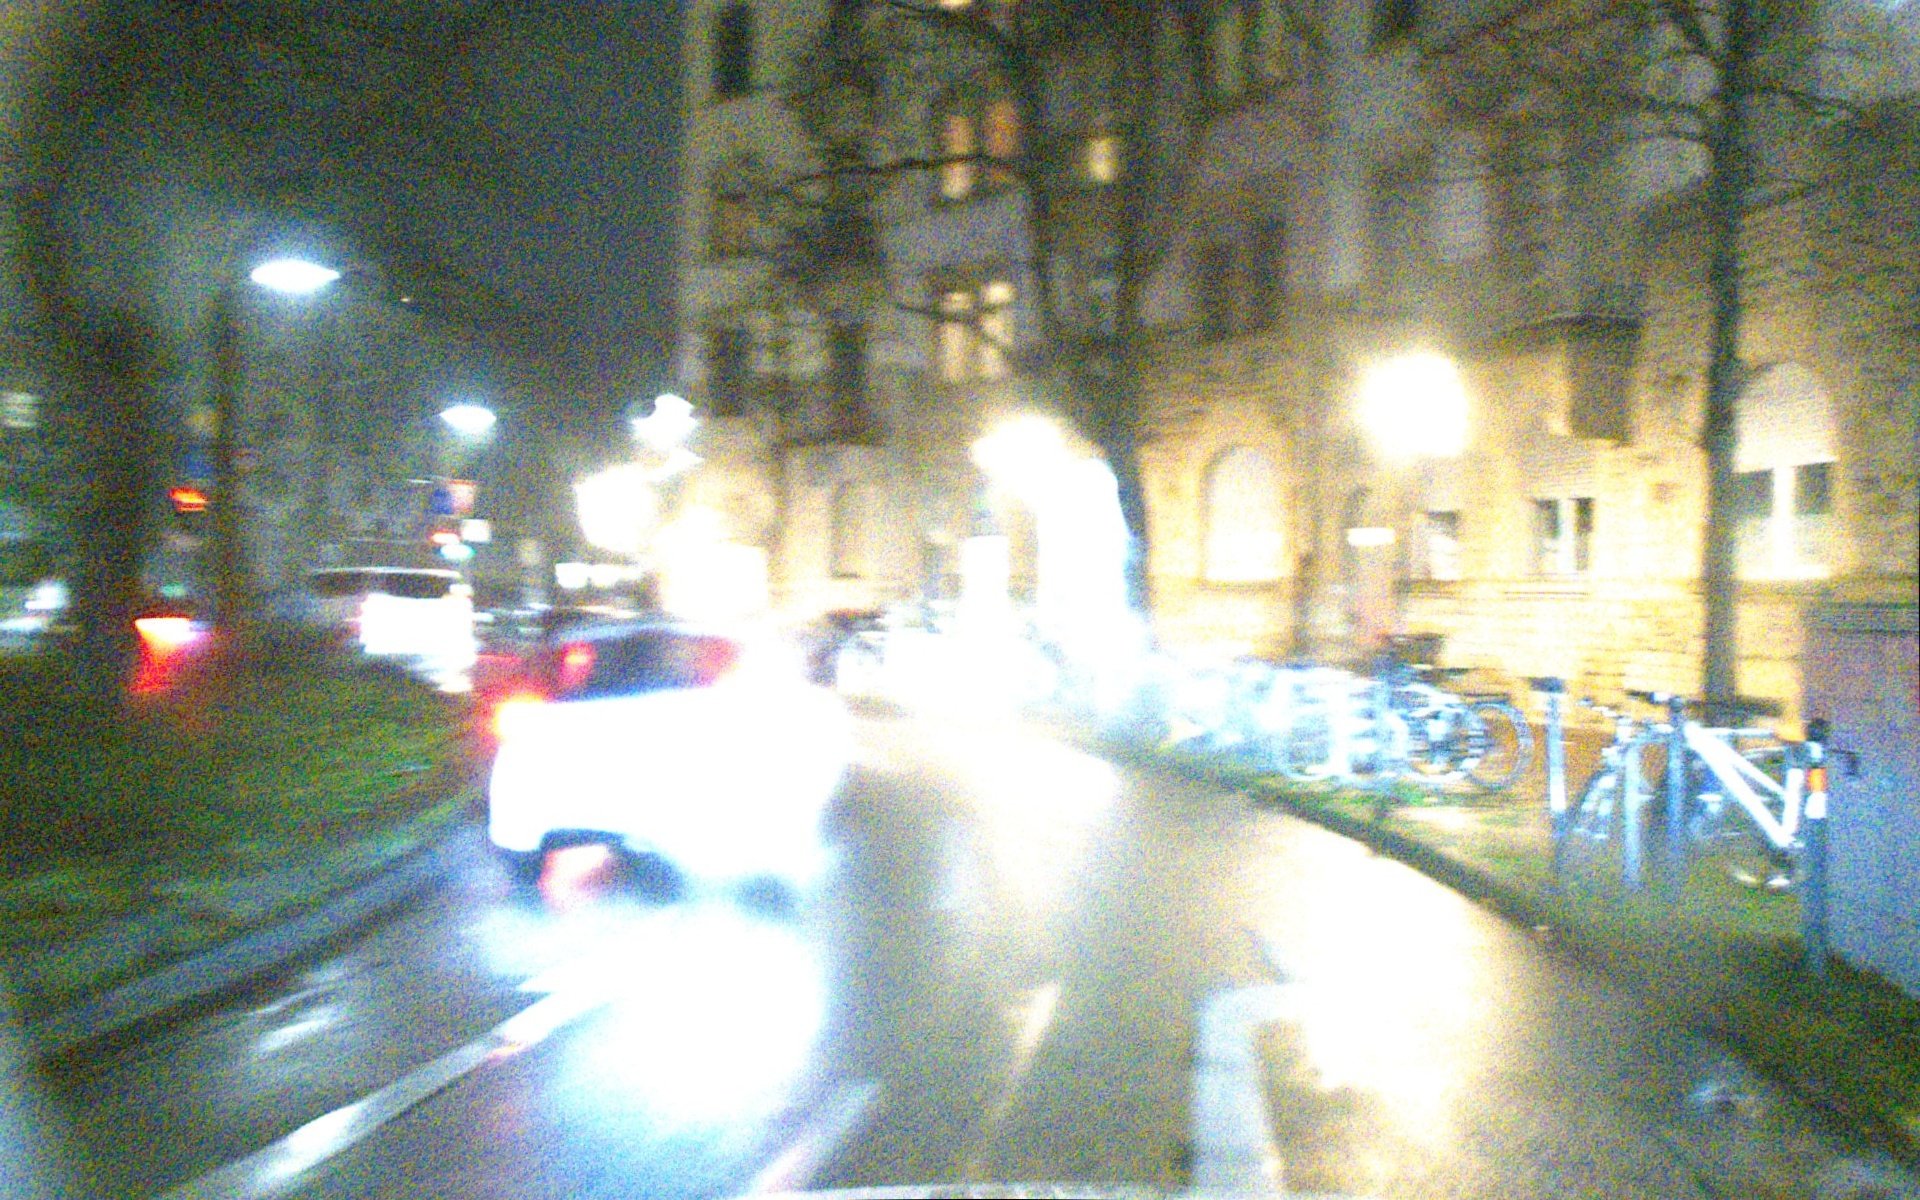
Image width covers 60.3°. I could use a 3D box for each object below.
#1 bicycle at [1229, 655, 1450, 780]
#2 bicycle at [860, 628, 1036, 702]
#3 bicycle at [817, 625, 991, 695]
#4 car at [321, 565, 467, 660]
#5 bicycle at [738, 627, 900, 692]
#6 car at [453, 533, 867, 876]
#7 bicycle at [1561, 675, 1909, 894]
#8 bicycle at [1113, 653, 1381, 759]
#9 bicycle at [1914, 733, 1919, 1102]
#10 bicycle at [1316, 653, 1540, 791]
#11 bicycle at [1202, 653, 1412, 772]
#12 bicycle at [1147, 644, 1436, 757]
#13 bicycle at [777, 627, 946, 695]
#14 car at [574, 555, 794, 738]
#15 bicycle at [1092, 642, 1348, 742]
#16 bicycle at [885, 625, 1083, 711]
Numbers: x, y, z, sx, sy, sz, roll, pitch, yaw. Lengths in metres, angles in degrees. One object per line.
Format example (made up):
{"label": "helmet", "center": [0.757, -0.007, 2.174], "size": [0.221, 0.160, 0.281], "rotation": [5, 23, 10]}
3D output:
{"label": "bicycle", "center": [3.400, 1.051, 14.850], "size": [1.895, 1.078, 0.450], "rotation": [1, 0, -9]}
{"label": "bicycle", "center": [-0.156, 0.955, 24.791], "size": [2.746, 1.044, 0.716], "rotation": [1, 0, -37]}
{"label": "bicycle", "center": [-0.851, 0.932, 25.876], "size": [2.740, 1.044, 0.717], "rotation": [1, 0, -32]}
{"label": "car", "center": [-11.579, 0.295, 33.695], "size": [1.974, 1.758, 3.957], "rotation": [3, -3, -31]}
{"label": "bicycle", "center": [-2.388, 1.009, 28.246], "size": [2.740, 1.044, 0.717], "rotation": [1, 0, -32]}
{"label": "car", "center": [-1.576, 0.578, 9.895], "size": [1.695, 1.642, 3.461], "rotation": [2, -2, 2]}
{"label": "bicycle", "center": [4.033, 0.953, 8.644], "size": [1.625, 1.078, 0.450], "rotation": [1, 0, -4]}
{"label": "bicycle", "center": [3.039, 1.121, 17.577], "size": [2.715, 1.044, 0.724], "rotation": [1, 0, -9]}
{"label": "bicycle", "center": [3.638, 0.945, 4.697], "size": [1.625, 1.078, 0.450], "rotation": [1, 0, -4]}
{"label": "bicycle", "center": [3.808, 0.989, 13.501], "size": [1.696, 1.078, 0.450], "rotation": [1, 0, -4]}
{"label": "bicycle", "center": [3.272, 1.062, 15.623], "size": [1.895, 1.078, 0.450], "rotation": [1, 0, -9]}
{"label": "bicycle", "center": [3.268, 0.992, 16.366], "size": [2.715, 1.044, 0.724], "rotation": [1, 0, -9]}
{"label": "bicycle", "center": [-1.592, 0.988, 27.064], "size": [2.740, 1.044, 0.717], "rotation": [1, 0, -32]}
{"label": "car", "center": [-3.170, 0.535, 18.363], "size": [1.961, 1.758, 3.983], "rotation": [2, -2, -15]}
{"label": "bicycle", "center": [2.887, 1.016, 18.425], "size": [2.715, 1.044, 0.724], "rotation": [1, 0, -9]}
{"label": "bicycle", "center": [0.328, 0.961, 23.368], "size": [2.715, 1.149, 0.724], "rotation": [1, 0, -9]}
